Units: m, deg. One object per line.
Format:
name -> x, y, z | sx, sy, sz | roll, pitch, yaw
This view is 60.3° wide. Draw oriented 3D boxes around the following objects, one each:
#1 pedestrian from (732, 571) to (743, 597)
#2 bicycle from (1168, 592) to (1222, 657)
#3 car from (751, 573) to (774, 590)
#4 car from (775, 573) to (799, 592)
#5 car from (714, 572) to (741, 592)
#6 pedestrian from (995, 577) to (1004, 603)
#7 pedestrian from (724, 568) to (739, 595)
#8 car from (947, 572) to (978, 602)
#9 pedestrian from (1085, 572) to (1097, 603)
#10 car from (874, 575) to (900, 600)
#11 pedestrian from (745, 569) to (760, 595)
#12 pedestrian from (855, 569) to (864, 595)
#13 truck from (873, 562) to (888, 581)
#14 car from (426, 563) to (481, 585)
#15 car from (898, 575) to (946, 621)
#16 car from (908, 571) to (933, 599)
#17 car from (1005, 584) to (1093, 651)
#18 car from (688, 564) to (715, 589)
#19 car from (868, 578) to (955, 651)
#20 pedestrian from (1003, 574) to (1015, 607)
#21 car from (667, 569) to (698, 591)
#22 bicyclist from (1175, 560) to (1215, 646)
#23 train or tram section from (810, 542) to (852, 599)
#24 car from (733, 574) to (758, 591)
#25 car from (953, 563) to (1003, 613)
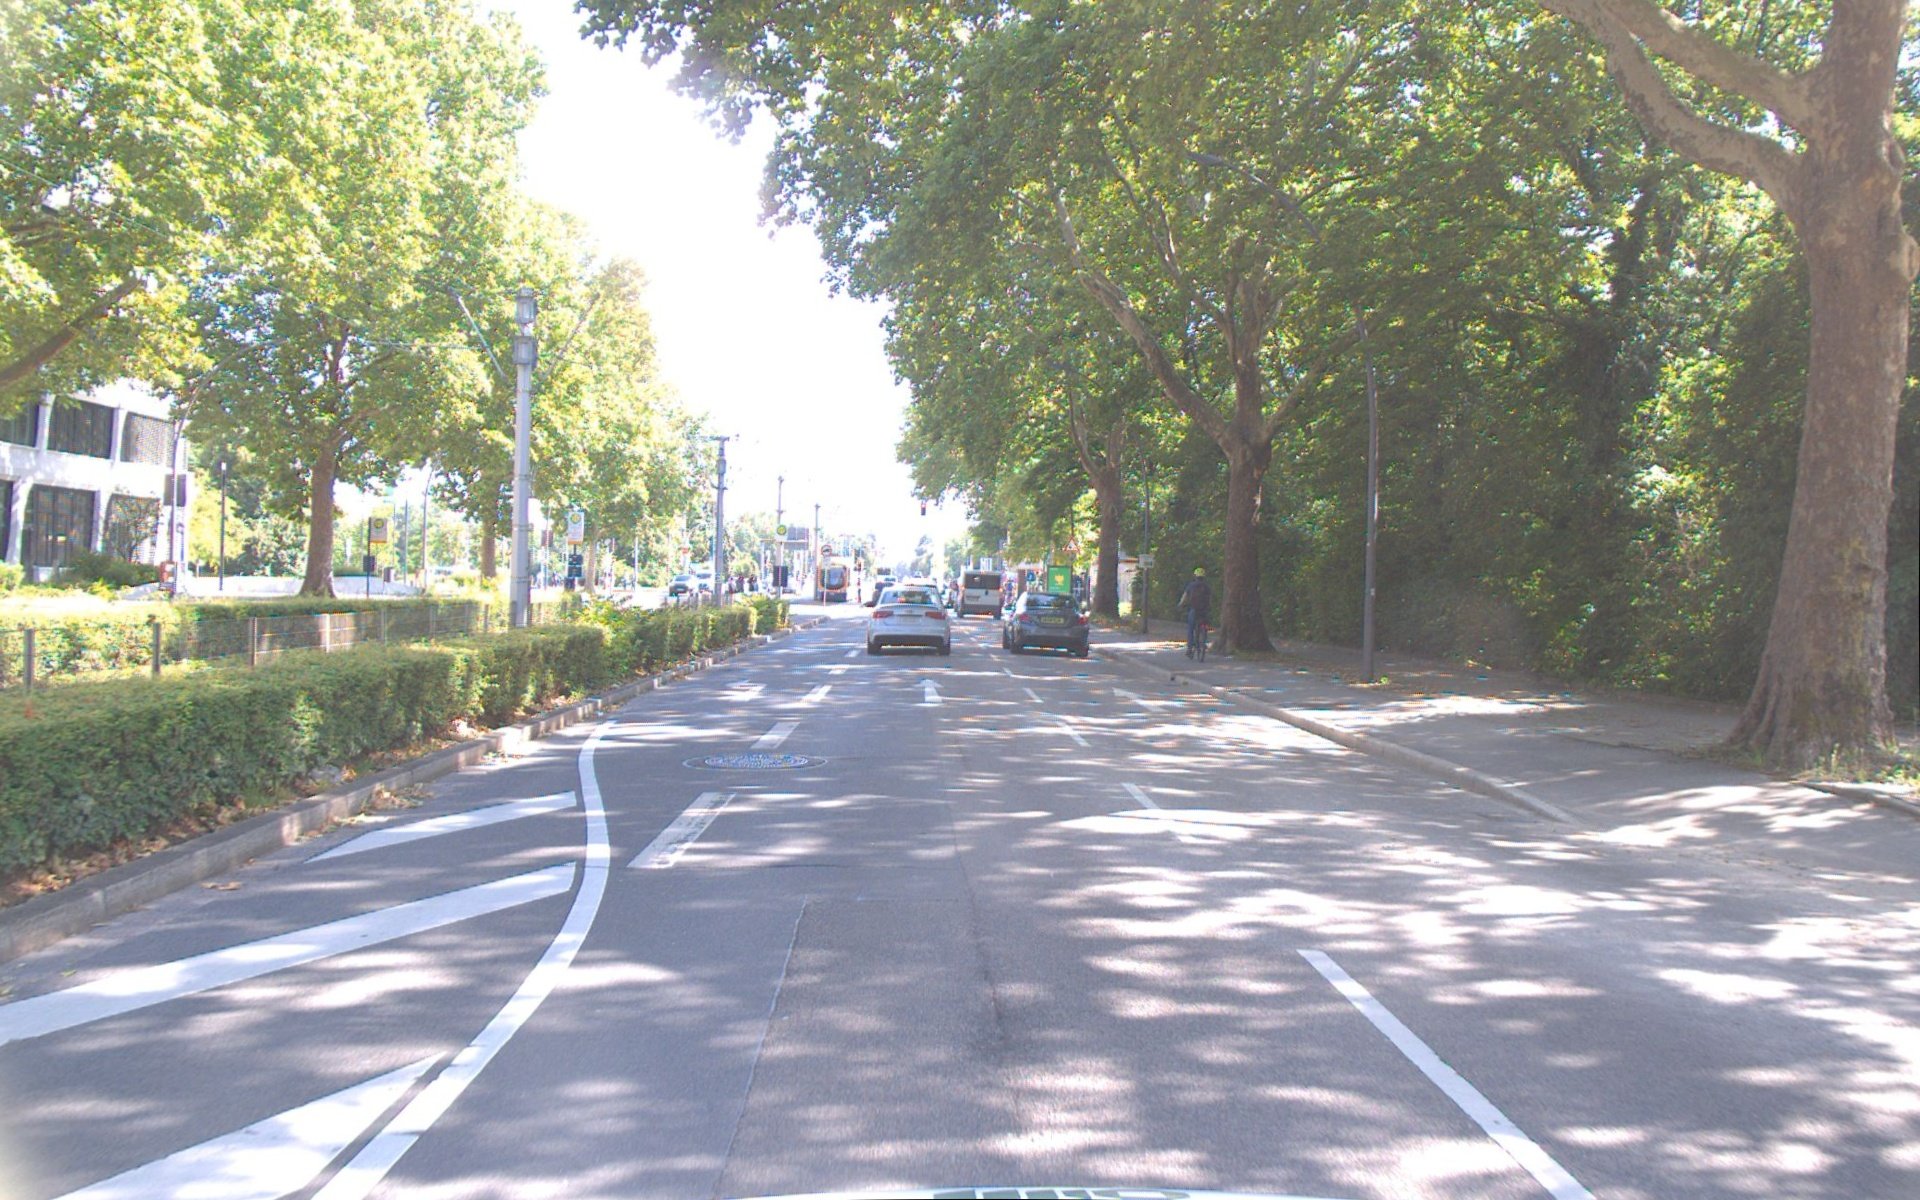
pedestrian -> -14.291, -1.031, 106.163 | 0.581, 1.675, 0.554 | 2, 0, -1
bicycle -> 4.754, 0.473, 33.535 | 0.700, 1.168, 2.178 | -1, 3, -2
car -> -20.226, -1.894, 169.534 | 1.833, 1.637, 4.000 | 2, 1, -1
car -> -17.029, -1.708, 162.680 | 1.953, 1.764, 4.000 | 2, 1, -1
car -> -19.395, -1.491, 138.058 | 1.774, 1.590, 4.303 | 2, 1, -1
pedestrian -> 2.701, -0.689, 113.735 | 0.590, 1.724, 0.953 | -1, 0, -1
pedestrian -> -14.246, -1.146, 102.933 | 0.748, 1.651, 0.590 | 2, 0, -27
car -> 0.149, -0.954, 117.162 | 2.030, 2.034, 4.057 | 2, 1, -1
pedestrian -> 8.151, -0.766, 103.199 | 0.601, 1.929, 0.694 | 1, 0, -4
car -> -5.080, -0.878, 115.667 | 1.694, 1.659, 3.999 | 2, 1, -1
pedestrian -> -14.171, -1.228, 113.024 | 0.758, 1.764, 0.755 | 2, 0, 7
pedestrian -> -7.478, -1.358, 123.312 | 0.611, 1.951, 0.689 | 2, 0, -1
truck -> -12.603, -4.454, 261.450 | 1.953, 2.838, 8.517 | 2, 1, -1
car -> -40.726, -2.083, 133.020 | 3.769, 1.576, 1.769 | 2, 0, -1
car -> -1.423, -0.091, 61.915 | 1.694, 1.633, 3.884 | 2, 1, -1
car -> -2.774, -1.058, 116.424 | 1.694, 1.934, 3.999 | 2, 1, -1
car -> 2.041, 0.371, 38.997 | 1.746, 1.445, 3.999 | 2, 1, -1
car -> -25.983, -2.389, 166.391 | 2.071, 2.424, 4.000 | 1, 1, -1
car -> -1.033, 0.270, 36.009 | 1.748, 1.445, 3.884 | 2, 1, -1
pedestrian -> 2.972, -0.603, 100.813 | 0.622, 1.980, 0.719 | 2, 0, -1
car -> -22.166, -1.623, 132.246 | 1.793, 1.652, 4.895 | 2, 1, -1
bicyclist -> 4.749, 0.047, 33.417 | 0.621, 1.676, 0.979 | -1, 2, -2
train or tram section -> -9.667, -2.191, 124.415 | 2.563, 4.085, 7.748 | 2, 1, -1
car -> -20.245, -1.613, 156.186 | 1.760, 1.514, 4.384 | 2, 1, -1
car -> 0.825, -0.572, 78.902 | 2.185, 2.250, 4.161 | 2, 1, -1
